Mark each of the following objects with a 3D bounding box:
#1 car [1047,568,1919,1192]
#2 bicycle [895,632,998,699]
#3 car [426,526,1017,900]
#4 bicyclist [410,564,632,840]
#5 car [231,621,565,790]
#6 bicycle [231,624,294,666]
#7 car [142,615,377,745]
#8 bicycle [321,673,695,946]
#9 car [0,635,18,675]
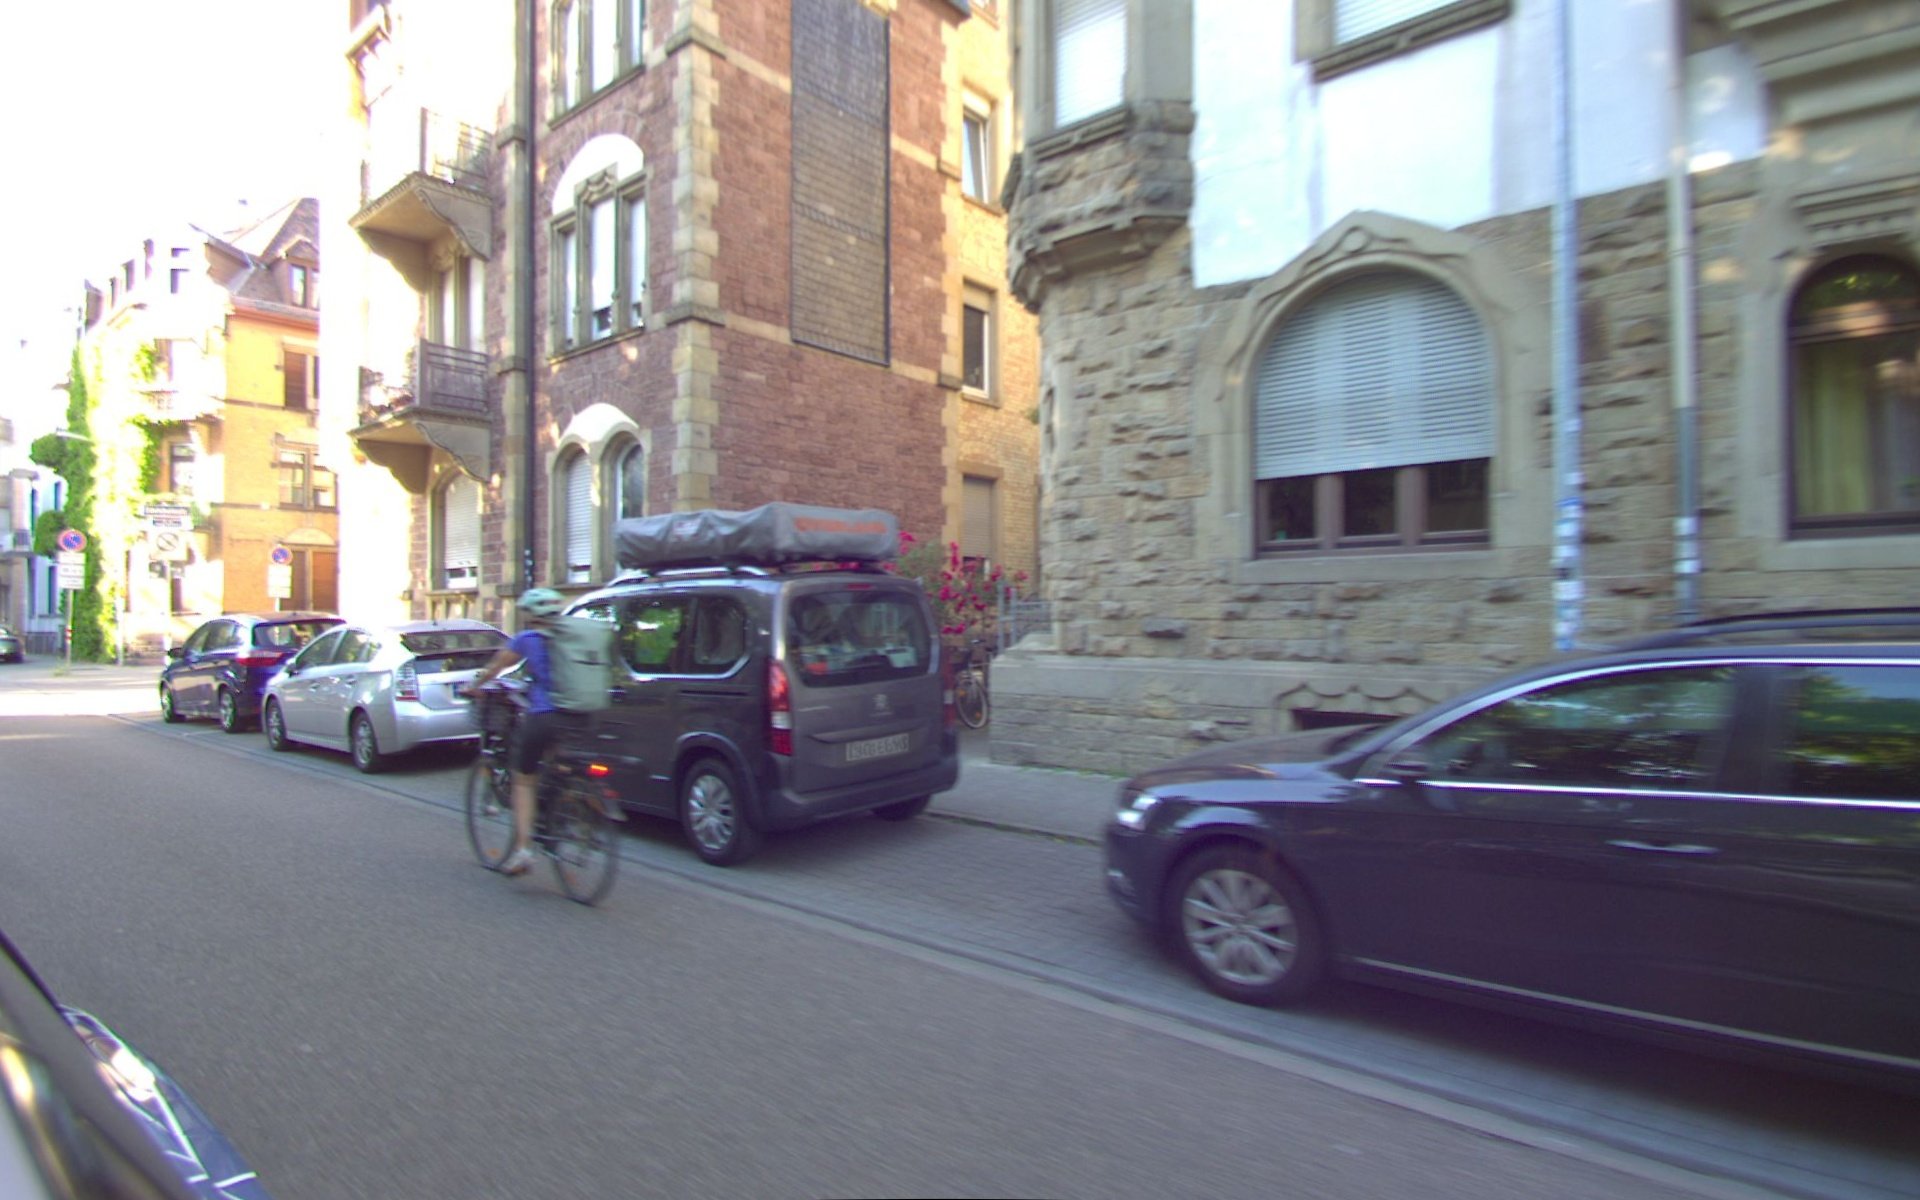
[{"bbox_3d":[2.701,0.731,3.511,4.707,1.586,1.711,0,-2,42],"label":"car"},{"bbox_3d":[-0.198,1.113,17.609,0.608,1.087,2.332,-1,-3,33],"label":"bicycle"},{"bbox_3d":[-1.978,0.656,7.567,4.492,1.989,1.949,-2,-1,39],"label":"car"},{"bbox_3d":[-2.420,0.528,5.571,1.058,1.355,0.659,-2,-4,37],"label":"bicyclist"},{"bbox_3d":[-6.391,1.030,11.286,4.449,1.510,1.713,-2,-1,39],"label":"car"},{"bbox_3d":[-22.056,1.416,31.994,1.577,1.278,0.566,1,-3,-40],"label":"bicycle"},{"bbox_3d":[-10.398,1.084,14.910,4.253,1.634,1.713,-2,-1,39],"label":"car"},{"bbox_3d":[-2.637,1.028,5.707,2.616,1.187,0.746,-2,-4,37],"label":"bicycle"},{"bbox_3d":[-36.919,2.058,37.895,4.921,1.415,1.858,-2,-1,40],"label":"car"}]
